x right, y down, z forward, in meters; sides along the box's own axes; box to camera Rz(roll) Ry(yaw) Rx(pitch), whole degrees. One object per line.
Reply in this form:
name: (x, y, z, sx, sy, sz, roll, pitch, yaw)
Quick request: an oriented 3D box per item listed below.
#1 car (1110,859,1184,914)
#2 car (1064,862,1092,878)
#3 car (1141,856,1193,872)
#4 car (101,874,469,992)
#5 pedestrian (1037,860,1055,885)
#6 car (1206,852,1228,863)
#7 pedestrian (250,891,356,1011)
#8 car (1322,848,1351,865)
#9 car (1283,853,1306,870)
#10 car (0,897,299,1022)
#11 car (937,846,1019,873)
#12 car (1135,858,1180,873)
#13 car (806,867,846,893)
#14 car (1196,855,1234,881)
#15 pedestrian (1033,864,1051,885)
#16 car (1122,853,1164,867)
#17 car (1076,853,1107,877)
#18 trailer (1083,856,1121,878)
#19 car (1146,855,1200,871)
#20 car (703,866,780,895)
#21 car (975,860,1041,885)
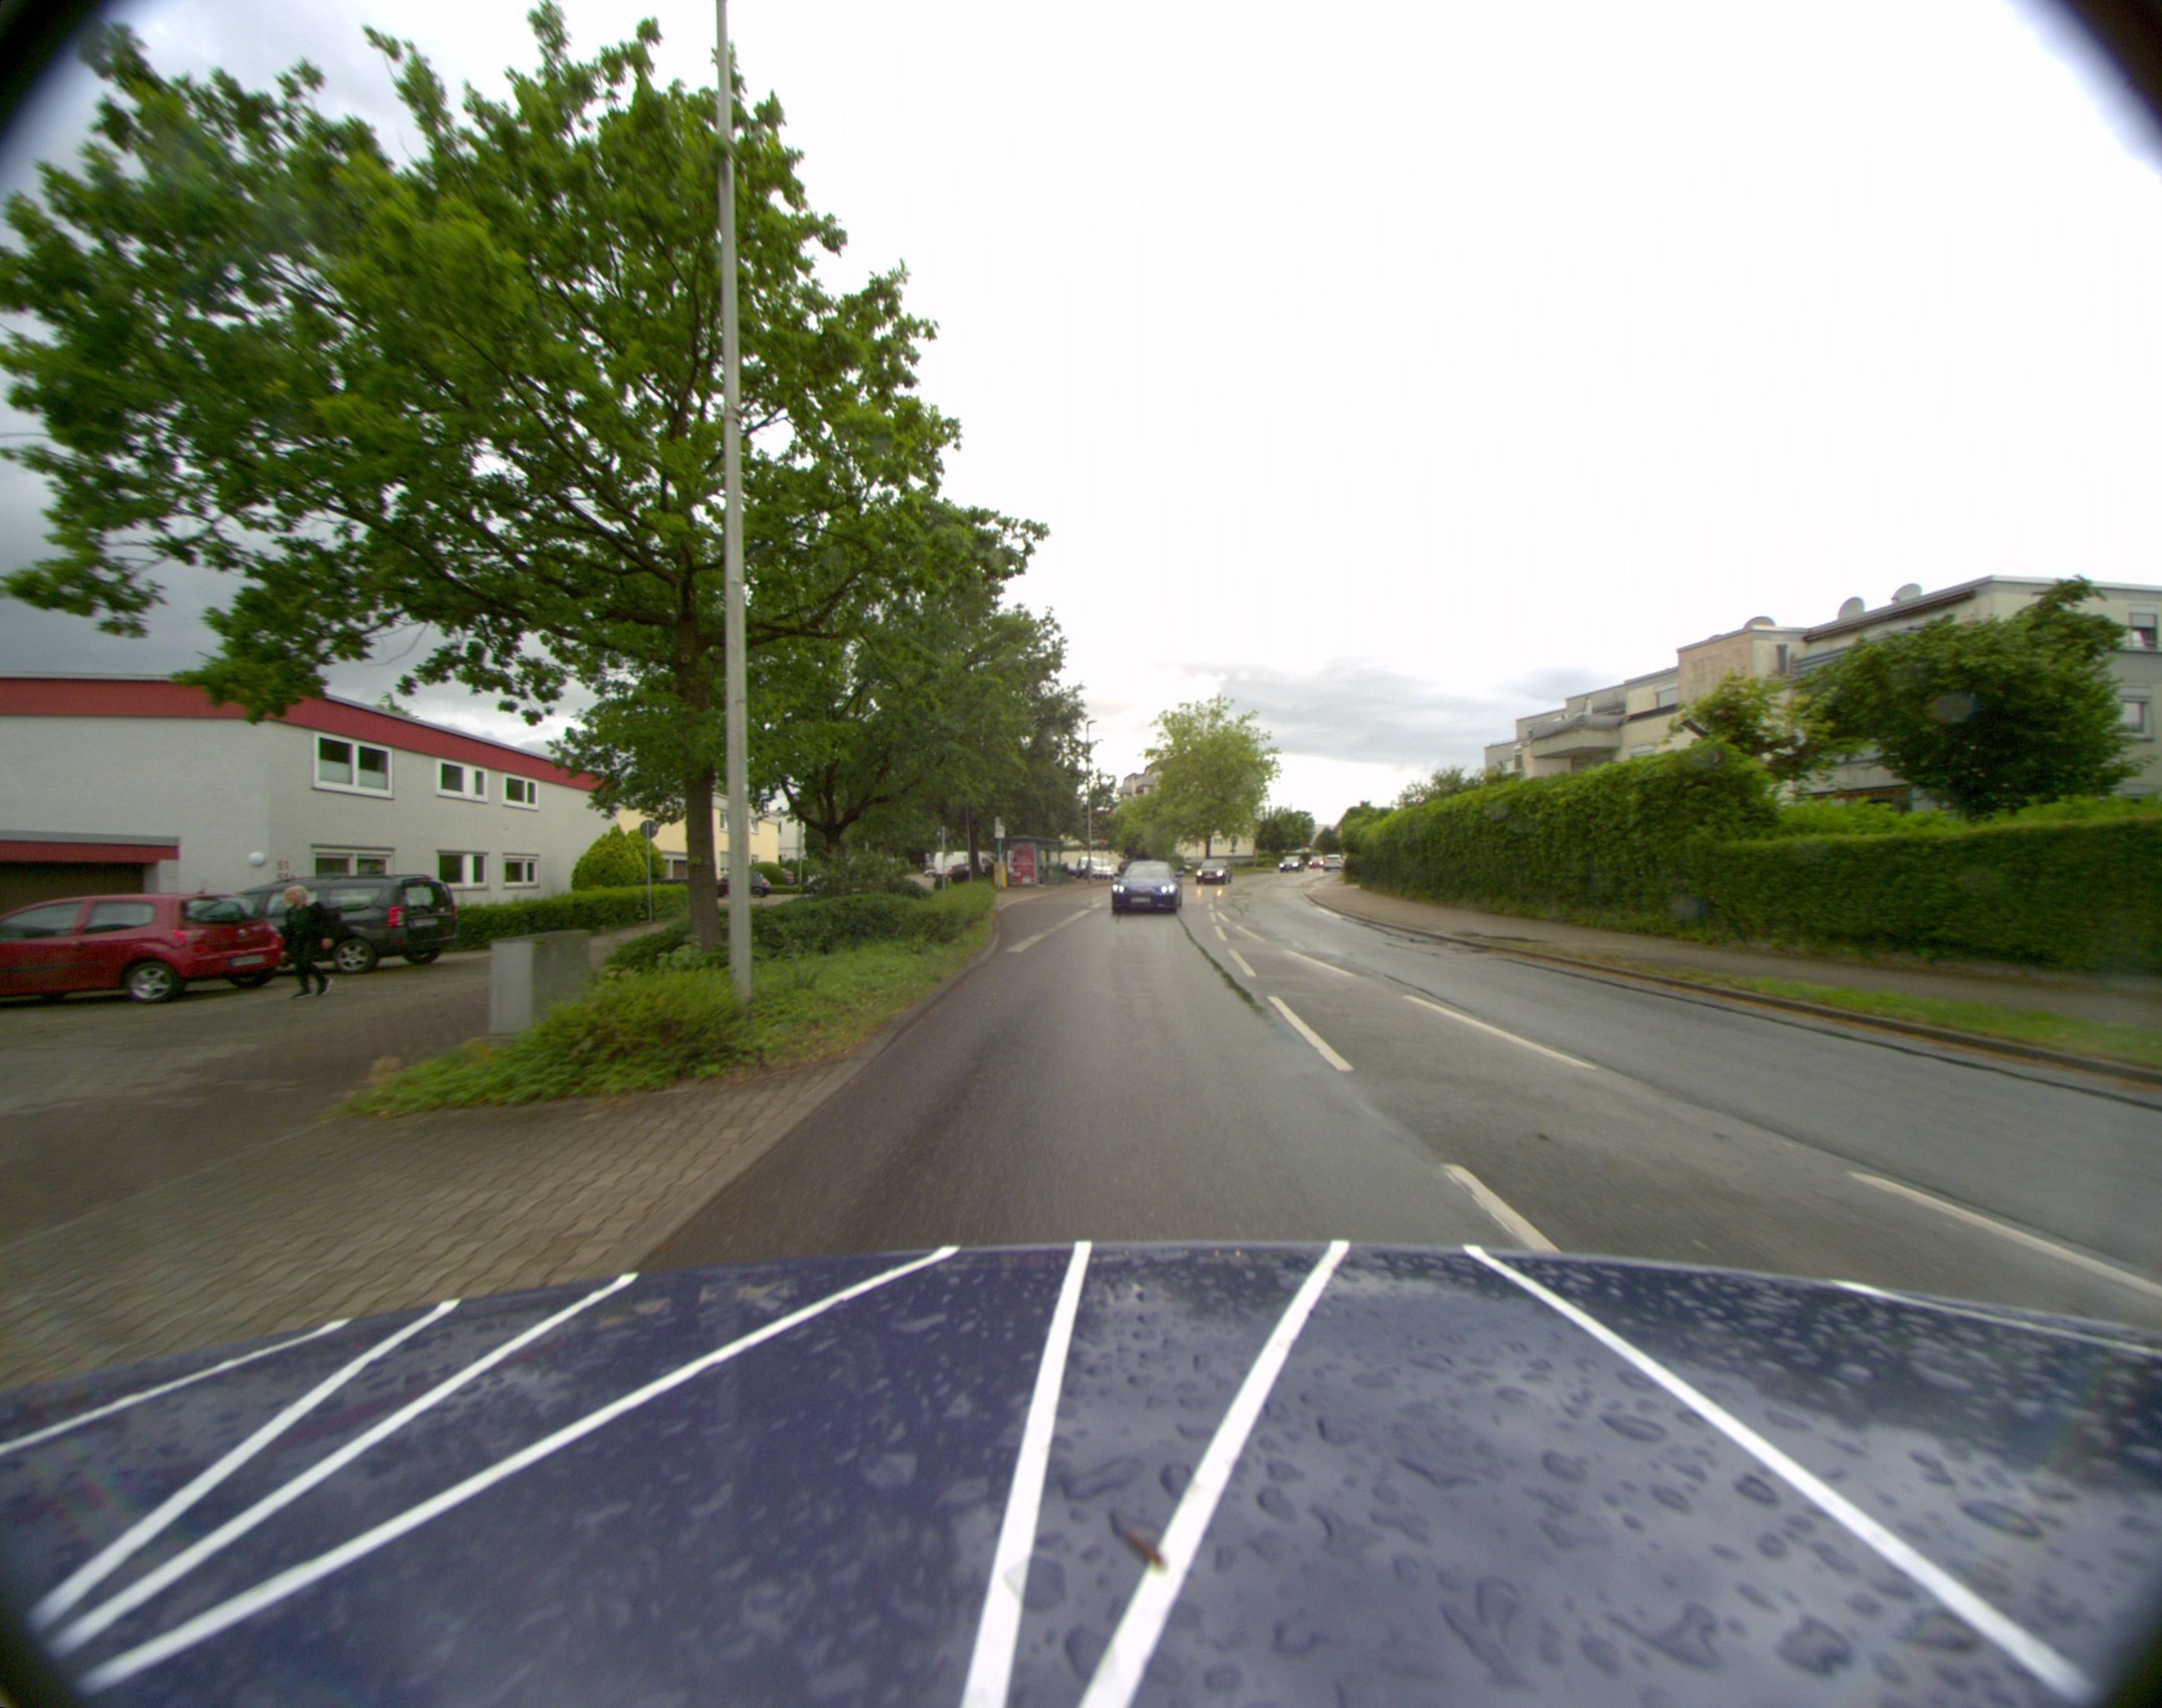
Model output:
car: (2.091, 0.897, 22.992, 1.911, 1.425, 4.304, 1, 0, 9)
car: (-0.331, 1.401, 67.128, 1.766, 1.374, 4.183, -1, 0, -10)
car: (8.095, 0.918, 71.716, 4.577, 1.434, 1.767, -1, 0, 20)
car: (-13.493, 1.274, 13.189, 4.001, 1.711, 1.922, -1, 0, -11)
pedestrian: (-1.788, 0.931, 39.048, 0.727, 1.243, 0.552, -1, 0, 17)
car: (18.385, 0.455, 102.780, 1.747, 1.472, 3.765, 0, 0, -11)
pedestrian: (-10.718, 1.301, 10.500, 0.666, 1.549, 0.841, 0, 0, -15)
car: (26.279, 0.219, 78.014, 1.892, 1.602, 4.874, -2, 0, 29)
car: (21.616, 0.748, 76.871, 1.838, 1.541, 4.006, -2, 0, 21)
car: (-13.670, 1.410, 10.460, 3.705, 1.433, 1.705, -1, 0, -11)
car: (-7.887, 0.428, 58.312, 5.828, 2.002, 2.002, -1, 0, 15)
car: (7.547, 1.101, 74.929, 4.014, 1.434, 1.767, -1, 0, 20)
car: (-16.333, 1.618, 48.816, 1.692, 1.501, 3.824, -2, 0, -8)
car: (8.100, 0.821, 45.774, 1.838, 1.440, 4.005, -2, 0, 16)
pedestrian: (-1.954, 1.044, 38.418, 0.750, 1.006, 0.552, -1, 0, 17)
car: (6.485, 0.596, 78.913, 4.014, 1.363, 1.767, -1, 0, 20)
car: (0.821, 0.875, 61.914, 1.999, 1.870, 4.210, -1, 0, -5)
trailer: (1.505, 0.909, 55.863, 2.000, 1.534, 4.422, -1, 0, -9)
car: (8.348, 0.840, 68.956, 4.577, 1.434, 1.767, -1, 0, 20)
car: (-18.984, 1.478, 42.679, 3.625, 1.523, 1.760, 2, -1, -12)
car: (-4.450, 1.127, 46.567, 3.651, 1.477, 1.762, -1, 0, 15)
